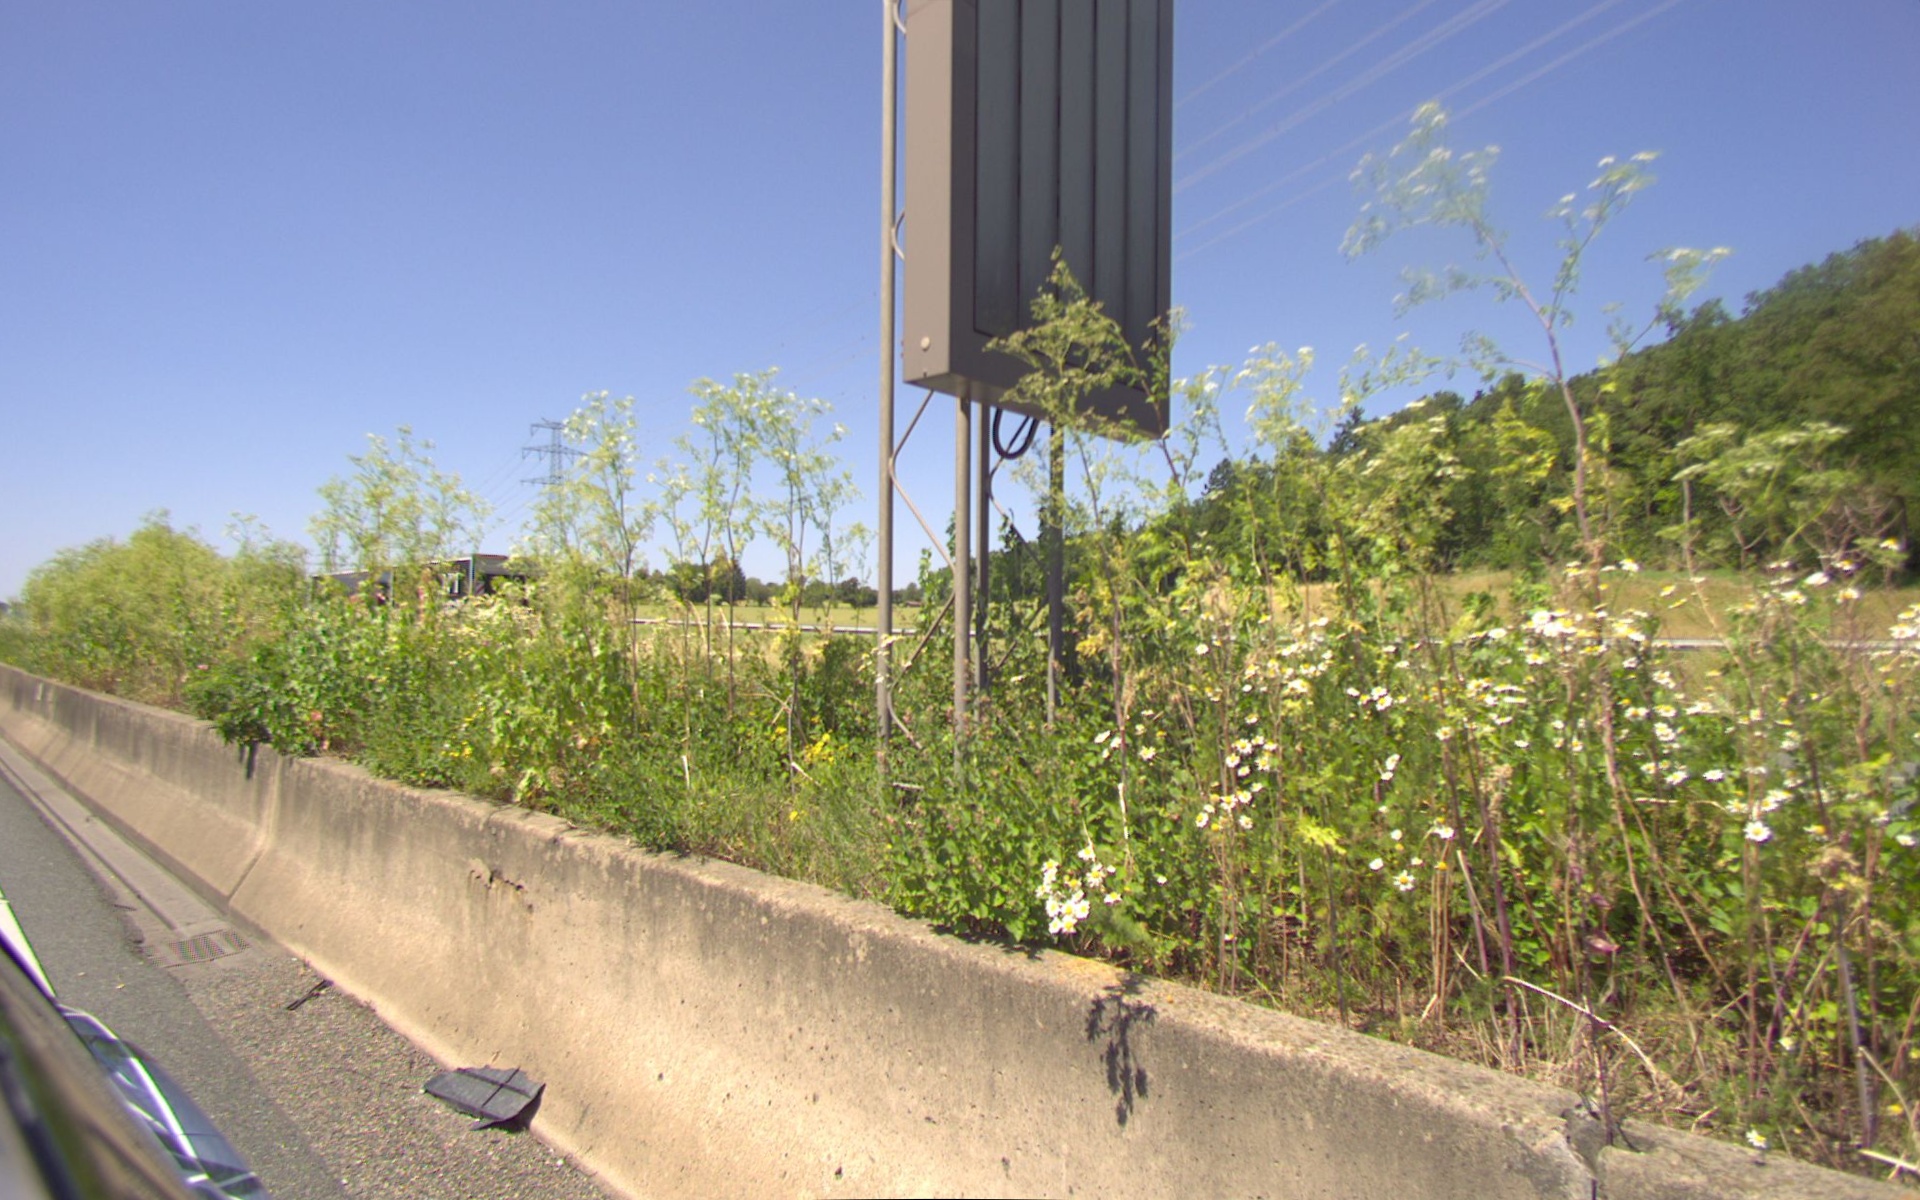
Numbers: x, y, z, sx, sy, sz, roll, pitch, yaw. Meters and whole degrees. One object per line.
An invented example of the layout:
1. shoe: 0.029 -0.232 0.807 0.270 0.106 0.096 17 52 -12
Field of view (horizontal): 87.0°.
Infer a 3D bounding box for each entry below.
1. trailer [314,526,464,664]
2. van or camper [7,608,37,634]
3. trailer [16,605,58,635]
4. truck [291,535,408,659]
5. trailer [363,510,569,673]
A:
1. trailer: -23.112 -0.131 40.856 6.702 5.086 3.287 -1 -1 42
2. van or camper: -106.724 2.367 115.176 4.648 2.882 2.026 -1 -2 42
3. trailer: -120.949 2.633 132.549 8.198 3.790 3.149 -1 -2 42
4. truck: -26.508 -0.066 43.905 4.031 5.089 3.268 -1 -2 42
5. trailer: -17.788 -0.200 36.022 9.589 5.086 3.286 -1 -1 42
